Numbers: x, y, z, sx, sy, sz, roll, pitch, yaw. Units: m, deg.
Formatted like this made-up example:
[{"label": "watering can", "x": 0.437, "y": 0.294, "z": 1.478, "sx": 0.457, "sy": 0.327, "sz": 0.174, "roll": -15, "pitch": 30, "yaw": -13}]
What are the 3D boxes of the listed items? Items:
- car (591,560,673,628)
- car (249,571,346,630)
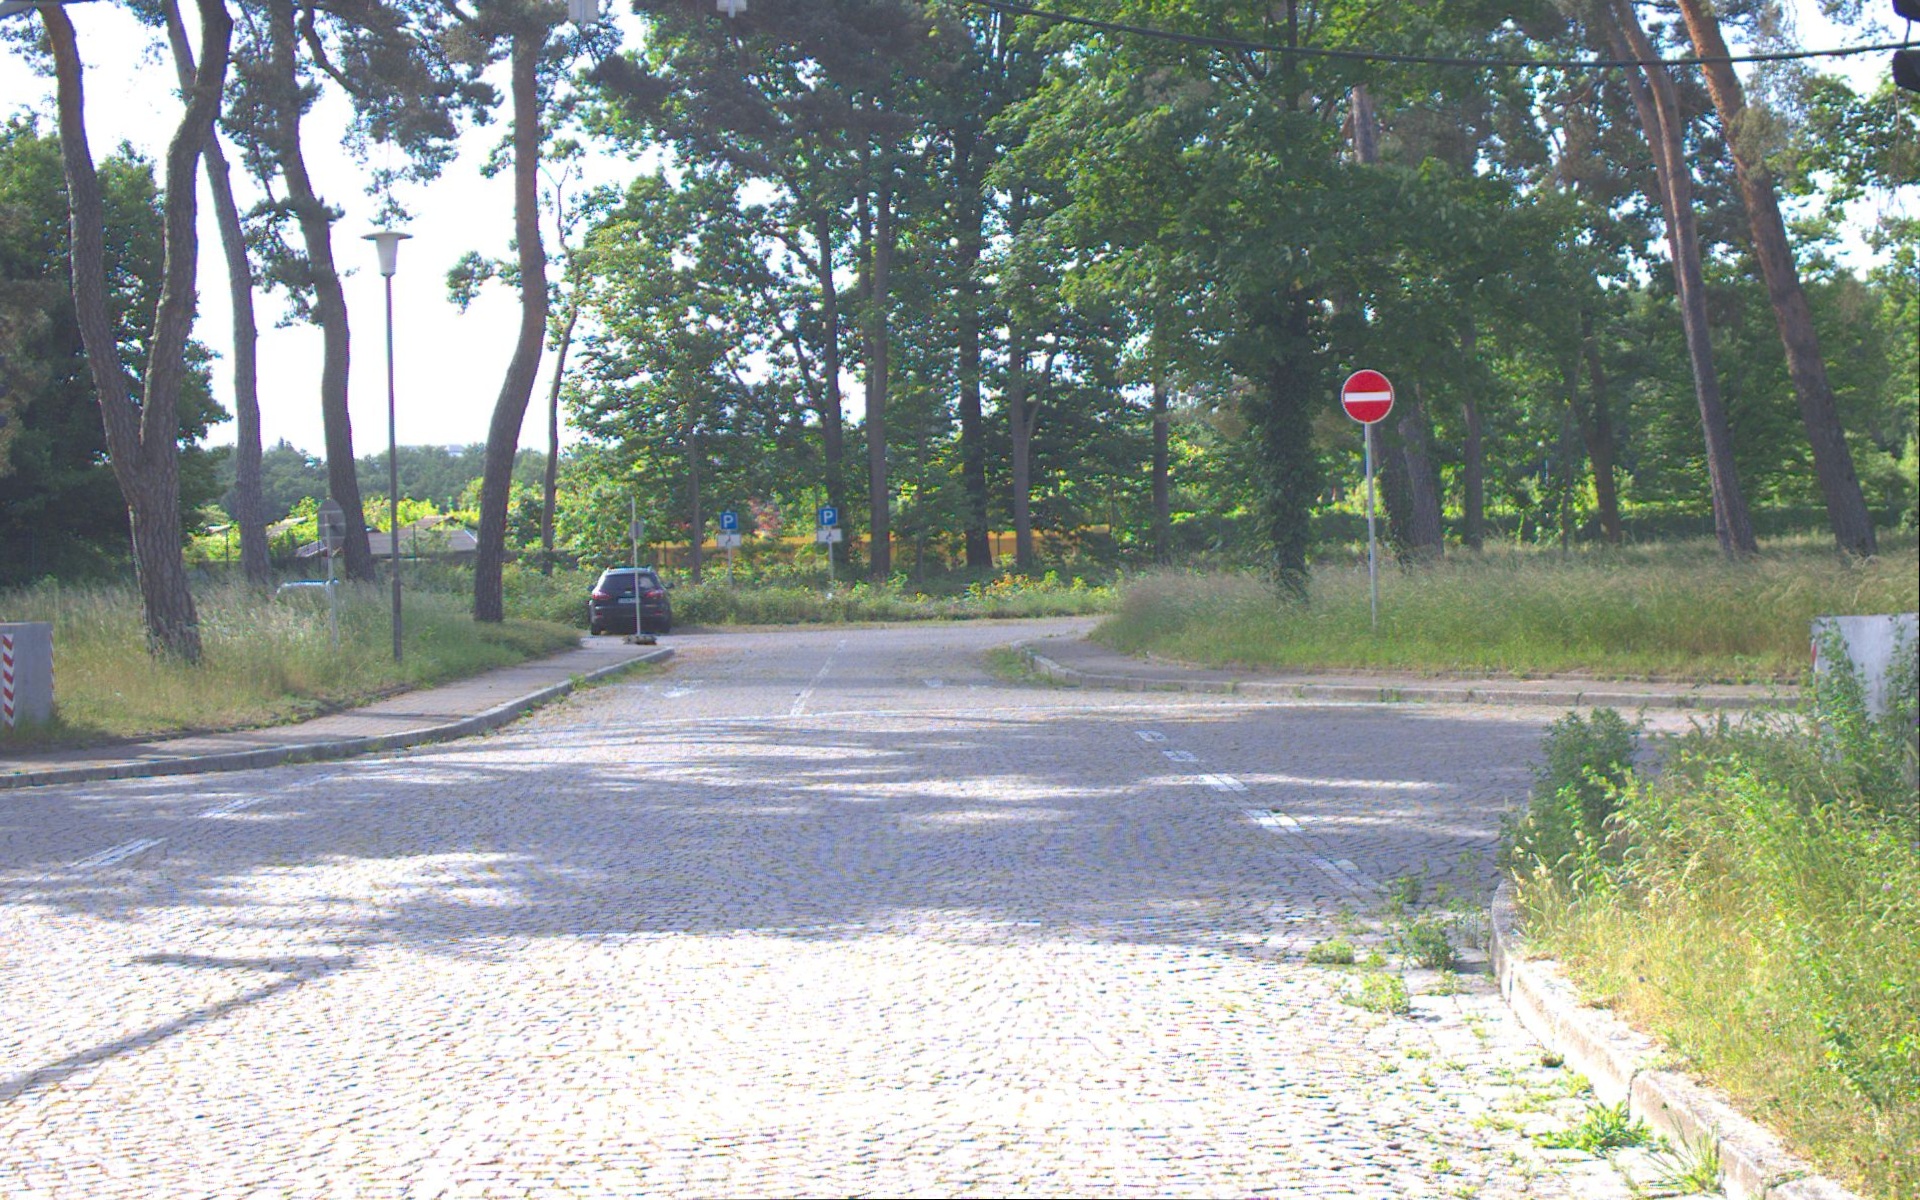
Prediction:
[{"label": "car", "x": -7.653, "y": -0.161, "z": 80.431, "sx": 1.709, "sy": 1.491, "sz": 3.919, "roll": -2, "pitch": 1, "yaw": -3}, {"label": "car", "x": -15.603, "y": -0.009, "z": 81.078, "sx": 1.709, "sy": 1.269, "sz": 3.919, "roll": -2, "pitch": 1, "yaw": -3}]
